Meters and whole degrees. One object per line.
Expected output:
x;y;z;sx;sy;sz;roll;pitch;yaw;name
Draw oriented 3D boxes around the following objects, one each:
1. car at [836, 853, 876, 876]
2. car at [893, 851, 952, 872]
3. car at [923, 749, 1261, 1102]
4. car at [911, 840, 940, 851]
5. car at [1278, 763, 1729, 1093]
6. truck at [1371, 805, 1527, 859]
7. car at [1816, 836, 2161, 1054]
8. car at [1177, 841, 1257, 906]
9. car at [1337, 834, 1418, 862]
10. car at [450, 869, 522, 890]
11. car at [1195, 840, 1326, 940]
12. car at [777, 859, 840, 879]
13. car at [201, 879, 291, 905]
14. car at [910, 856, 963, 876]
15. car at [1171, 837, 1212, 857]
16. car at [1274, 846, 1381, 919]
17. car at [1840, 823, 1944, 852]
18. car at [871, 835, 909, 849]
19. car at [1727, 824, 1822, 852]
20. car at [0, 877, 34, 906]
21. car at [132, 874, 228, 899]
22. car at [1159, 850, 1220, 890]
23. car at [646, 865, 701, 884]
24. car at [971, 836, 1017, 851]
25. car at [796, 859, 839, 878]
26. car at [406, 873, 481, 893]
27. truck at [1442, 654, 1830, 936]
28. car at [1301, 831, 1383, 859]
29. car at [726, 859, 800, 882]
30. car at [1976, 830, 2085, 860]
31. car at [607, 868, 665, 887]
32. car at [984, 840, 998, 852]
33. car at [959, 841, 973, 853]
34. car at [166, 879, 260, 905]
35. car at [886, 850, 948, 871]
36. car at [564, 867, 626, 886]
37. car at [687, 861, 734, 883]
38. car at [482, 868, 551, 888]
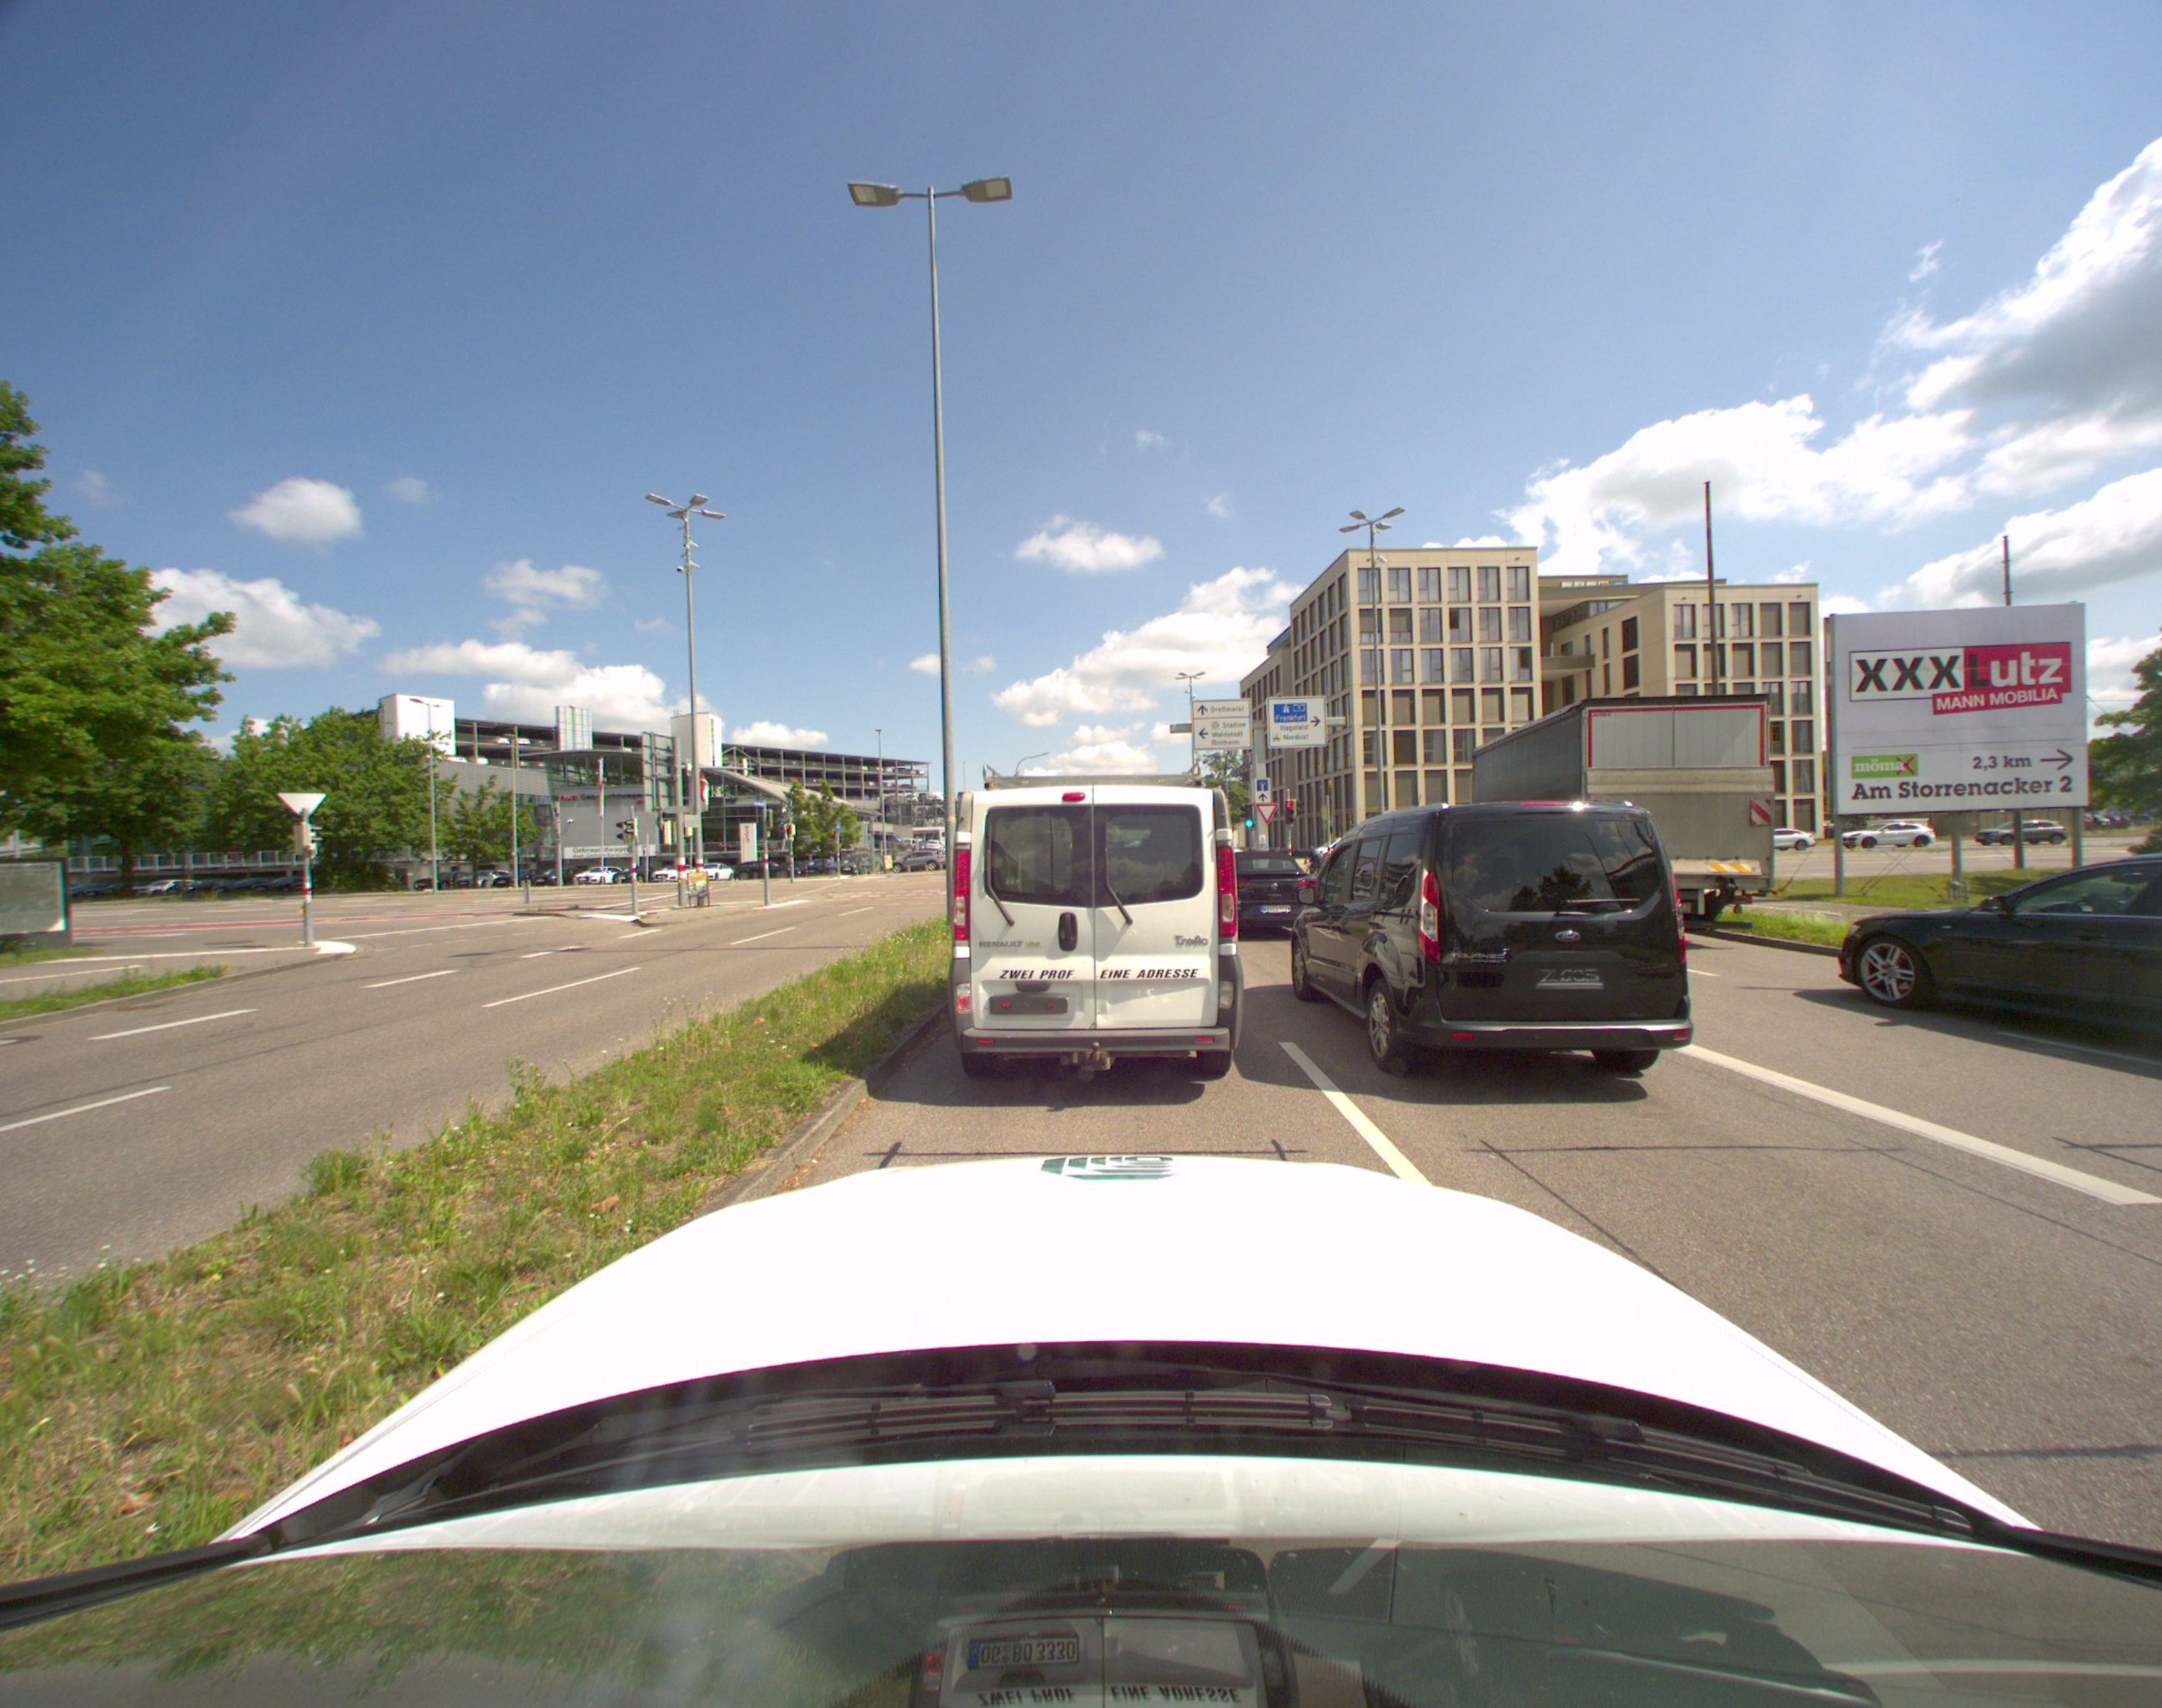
-16.688;0.759;60.660;1.896;1.678;4.585;0;-1;-3;car
-13.144;0.653;67.839;4.562;1.678;1.906;0;-1;-2;car
0.137;0.420;7.111;1.965;2.060;4.566;-1;0;2;car
-22.263;-1.168;116.873;3.987;1.552;1.759;0;-1;-10;car
2.942;0.434;6.759;1.816;1.905;4.003;-1;0;3;car
25.217;-1.479;55.926;9.737;3.555;2.670;0;-1;-6;truck
8.234;0.604;5.875;1.767;1.478;4.682;-1;0;2;car
3.719;0.505;22.844;1.766;1.629;4.003;-1;0;3;car
17.725;-0.369;48.735;4.192;1.627;1.824;0;-1;-6;car
-43.039;1.860;59.043;1.896;1.405;4.584;0;-3;-3;car
3.248;0.595;15.480;1.766;1.629;4.003;-1;0;3;car
-23.438;1.306;70.261;4.731;1.511;1.982;-2;-3;-4;car
-59.960;2.710;58.613;1.896;1.678;4.585;0;-1;-3;car
-13.436;1.109;76.061;4.562;1.677;1.906;-3;1;-2;car
11.587;-0.697;85.694;3.982;2.014;1.996;0;-1;-7;car
6.158;0.760;20.824;1.849;1.656;4.225;0;-3;6;car
54.086;-1.084;54.414;4.667;1.838;1.834;-1;-1;12;car
-24.483;-1.530;104.393;4.432;1.801;1.762;0;-1;-4;car
47.288;-1.058;55.601;4.683;1.838;1.832;0;-1;8;car
-77.838;2.700;57.528;1.896;2.049;4.585;0;-1;-3;car
-64.657;2.301;58.583;1.896;1.678;4.585;0;-1;-3;car
4.115;0.607;31.537;1.849;1.442;4.000;0;-1;0;car
-29.862;1.480;59.875;1.896;1.297;4.585;0;0;-3;car
-12.442;-1.484;116.498;6.373;2.102;1.763;0;-1;-4;car
-19.446;1.047;60.346;1.896;1.297;4.585;0;0;-3;car
-46.065;2.068;58.992;1.896;1.405;4.585;0;-2;-3;car
10.011;-0.801;16.357;3.191;4.027;9.100;-1;-1;12;truck
17.770;-0.614;55.599;4.969;1.838;1.996;0;-1;-6;car
-23.669;1.231;60.732;4.731;1.464;1.793;-2;-3;-4;car
61.611;-0.552;52.923;4.401;1.838;1.834;-1;-1;12;car
-32.505;1.717;59.606;1.896;1.297;4.585;0;0;-3;car
-12.063;-0.998;109.065;1.557;1.552;3.598;-1;0;-3;car
-15.406;-0.942;109.592;1.557;1.552;3.598;0;-1;-3;car
-62.015;2.709;58.306;1.896;1.678;4.585;0;-1;-3;car
-13.101;0.524;65.196;4.562;1.678;1.906;0;-1;-2;car
-35.404;1.596;59.510;1.896;1.297;4.585;0;0;-3;car
-27.263;1.354;60.067;1.786;1.464;3.995;-2;-3;-3;car
-40.736;1.727;58.886;1.896;1.384;4.584;0;-2;-3;car
